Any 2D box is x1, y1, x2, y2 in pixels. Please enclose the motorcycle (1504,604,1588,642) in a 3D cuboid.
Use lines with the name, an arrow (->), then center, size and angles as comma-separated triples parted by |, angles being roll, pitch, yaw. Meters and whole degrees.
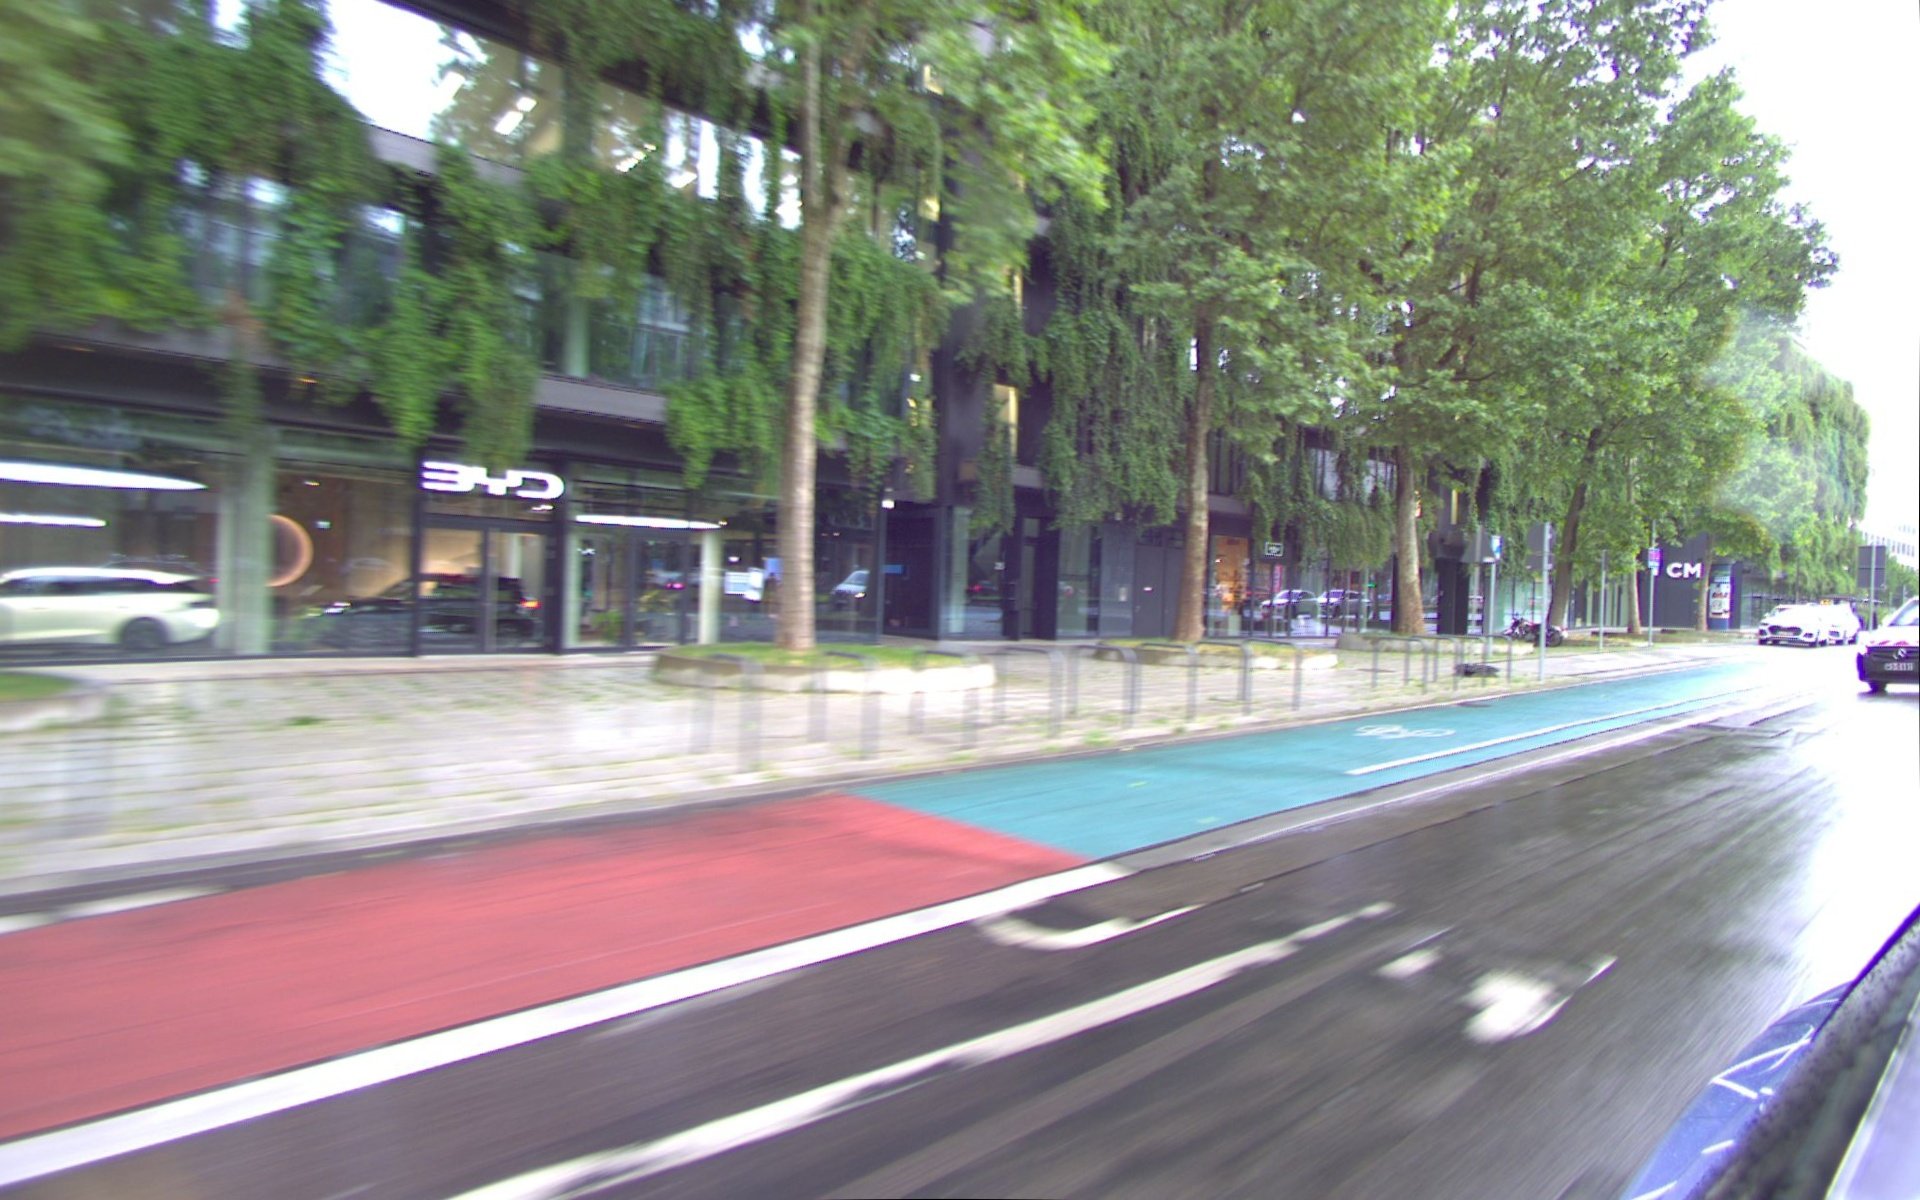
motorcycle -> 20.292, 0.779, 35.077 | 1.034, 1.286, 2.310 | 1, -1, -42

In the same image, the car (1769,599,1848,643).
car -> 34.611, 0.828, 41.234 | 4.703, 1.653, 1.846 | 1, 0, -42

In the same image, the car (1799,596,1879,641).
car -> 39.263, 0.820, 45.159 | 5.002, 1.861, 1.848 | 1, 1, -40

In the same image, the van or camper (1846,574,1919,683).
van or camper -> 19.425, 0.558, 18.808 | 5.140, 1.938, 2.003 | 1, -2, -17
